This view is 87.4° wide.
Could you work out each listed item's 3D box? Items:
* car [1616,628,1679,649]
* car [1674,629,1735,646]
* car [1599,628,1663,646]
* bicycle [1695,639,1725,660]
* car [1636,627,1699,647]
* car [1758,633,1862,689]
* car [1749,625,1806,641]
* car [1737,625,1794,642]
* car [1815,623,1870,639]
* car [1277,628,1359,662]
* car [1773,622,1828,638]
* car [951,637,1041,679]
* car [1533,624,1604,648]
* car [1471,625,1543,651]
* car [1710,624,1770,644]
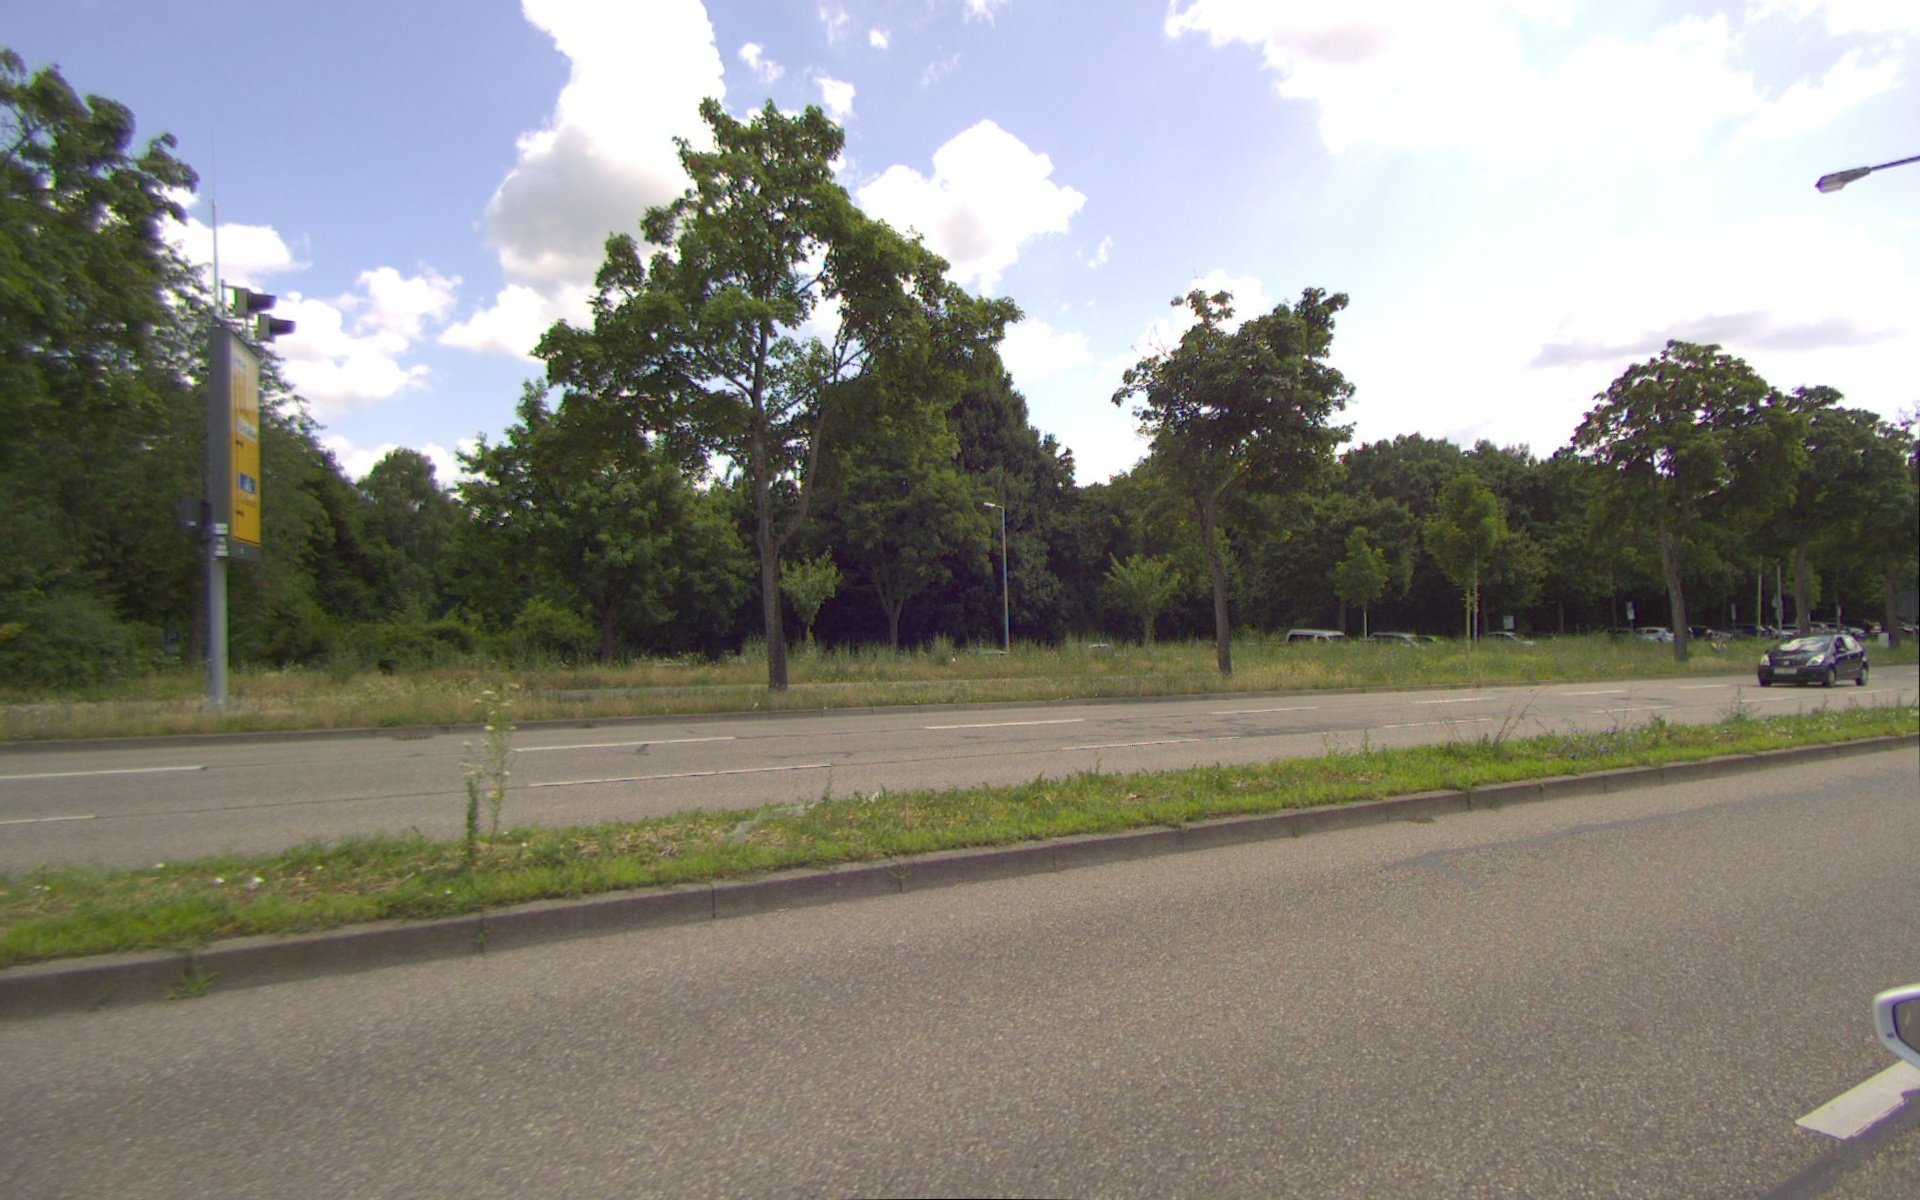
[{"bbox_3d":[54.366,3.047,79.447,1.765,1.447,3.764,0,1,-32],"label":"car"},{"bbox_3d":[62.943,3.172,84.930,1.765,1.264,3.764,0,1,-32],"label":"car"},{"bbox_3d":[52.228,2.867,78.210,1.764,1.264,3.767,0,1,-30],"label":"car"},{"bbox_3d":[37.268,2.460,49.876,1.896,0.991,0.564,1,-1,-33],"label":"bicycle"},{"bbox_3d":[56.992,2.962,80.929,1.765,1.405,3.764,0,1,-32],"label":"car"},{"bbox_3d":[23.826,1.669,28.122,3.646,1.446,1.686,2,-2,-41],"label":"car"},{"bbox_3d":[76.559,3.070,94.154,1.763,1.406,3.770,0,1,-28],"label":"car"},{"bbox_3d":[73.865,3.026,92.159,1.763,1.406,3.770,0,1,-28],"label":"car"},{"bbox_3d":[89.173,3.114,101.519,1.763,1.406,3.770,0,1,-28],"label":"car"},{"bbox_3d":[20.030,2.488,56.293,1.979,1.647,3.963,0,1,-33],"label":"car"},{"bbox_3d":[81.729,2.917,97.703,1.763,1.406,3.770,0,1,-28],"label":"car"},{"bbox_3d":[1.500,2.476,43.546,1.979,1.539,3.963,0,1,-33],"label":"car"},{"bbox_3d":[41.822,2.453,69.111,1.764,1.528,3.767,0,1,-30],"label":"car"},{"bbox_3d":[35.630,2.436,65.515,1.764,1.528,3.767,0,1,-30],"label":"car"},{"bbox_3d":[69.160,3.003,89.099,1.763,1.589,3.770,0,1,-28],"label":"car"}]
